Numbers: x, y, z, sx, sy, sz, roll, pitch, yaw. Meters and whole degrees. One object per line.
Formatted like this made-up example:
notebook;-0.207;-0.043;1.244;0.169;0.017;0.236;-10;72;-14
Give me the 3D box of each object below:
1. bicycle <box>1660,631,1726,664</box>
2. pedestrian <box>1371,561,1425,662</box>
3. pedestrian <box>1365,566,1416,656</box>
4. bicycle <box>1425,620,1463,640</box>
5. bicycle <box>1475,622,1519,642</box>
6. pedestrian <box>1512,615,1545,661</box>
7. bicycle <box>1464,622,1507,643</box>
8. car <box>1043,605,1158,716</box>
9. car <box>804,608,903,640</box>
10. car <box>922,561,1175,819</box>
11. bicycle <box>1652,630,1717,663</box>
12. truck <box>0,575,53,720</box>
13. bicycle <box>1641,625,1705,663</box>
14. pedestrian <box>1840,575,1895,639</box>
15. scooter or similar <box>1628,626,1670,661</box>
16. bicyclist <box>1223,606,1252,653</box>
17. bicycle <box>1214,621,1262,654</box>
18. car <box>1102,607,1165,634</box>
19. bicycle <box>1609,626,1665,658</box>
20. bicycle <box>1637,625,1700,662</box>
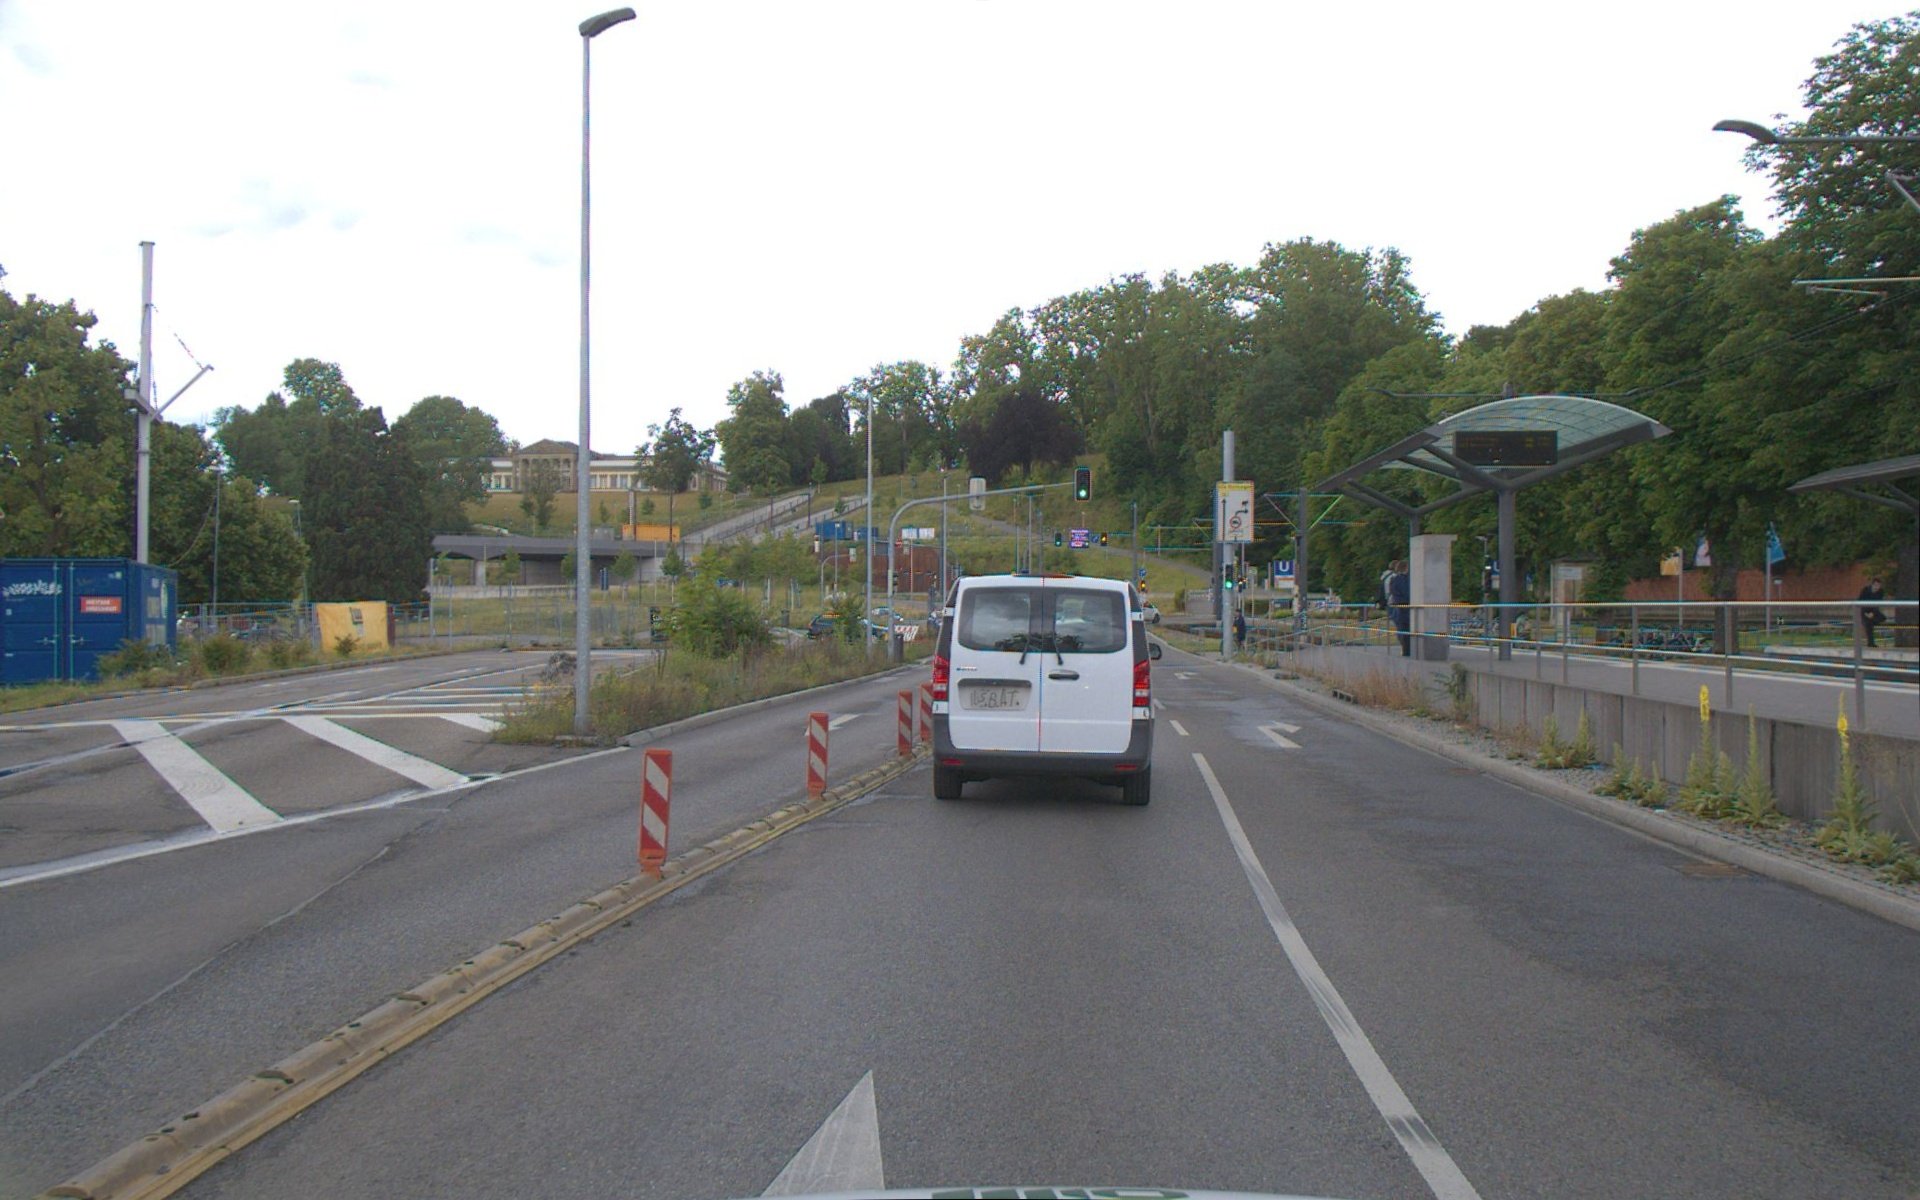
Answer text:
bicycle;23.416;1.506;52.823;1.834;0.980;0.533;2;-1;5
pedestrian;7.688;0.199;29.078;0.754;1.729;0.732;2;1;6
pedestrian;7.762;0.193;29.849;0.734;1.580;0.775;2;1;6
bicycle;25.503;1.571;87.145;1.872;0.992;0.531;-1;-1;4
bicycle;25.358;1.507;78.143;1.872;0.911;0.531;-1;-1;4
pedestrian;20.642;1.374;60.072;0.819;1.637;0.774;-1;-1;-18
bicycle;25.188;1.557;79.272;1.872;0.992;0.531;-1;-1;4
car;2.387;1.005;28.911;1.800;1.759;4.063;1;-1;3
car;-5.445;1.240;84.781;4.609;1.503;2.002;-1;0;14
car;0.878;0.721;15.047;1.918;1.937;4.464;1;-1;5
bicycle;23.448;1.507;53.550;1.834;0.980;0.533;2;-1;5
truck;-25.249;1.166;42.252;2.755;3.394;8.417;-2;0;-23
bicycle;23.442;1.439;54.390;1.834;1.159;0.533;2;-1;5
pedestrian;19.675;0.149;35.879;0.659;1.347;0.968;2;-1;3
scooter or similar;23.620;1.478;56.688;1.247;1.159;0.333;2;-1;12
bicyclist;9.478;0.999;56.462;0.797;1.599;0.610;0;0;-35
bicycle;9.494;1.276;56.484;1.665;1.093;0.613;-1;1;-36
car;13.200;1.566;125.477;2.169;2.049;5.118;0;-1;43
bicycle;23.599;1.468;57.695;1.726;1.052;0.484;2;-1;5
bicycle;23.696;1.453;55.323;1.834;1.159;0.533;2;-1;5
